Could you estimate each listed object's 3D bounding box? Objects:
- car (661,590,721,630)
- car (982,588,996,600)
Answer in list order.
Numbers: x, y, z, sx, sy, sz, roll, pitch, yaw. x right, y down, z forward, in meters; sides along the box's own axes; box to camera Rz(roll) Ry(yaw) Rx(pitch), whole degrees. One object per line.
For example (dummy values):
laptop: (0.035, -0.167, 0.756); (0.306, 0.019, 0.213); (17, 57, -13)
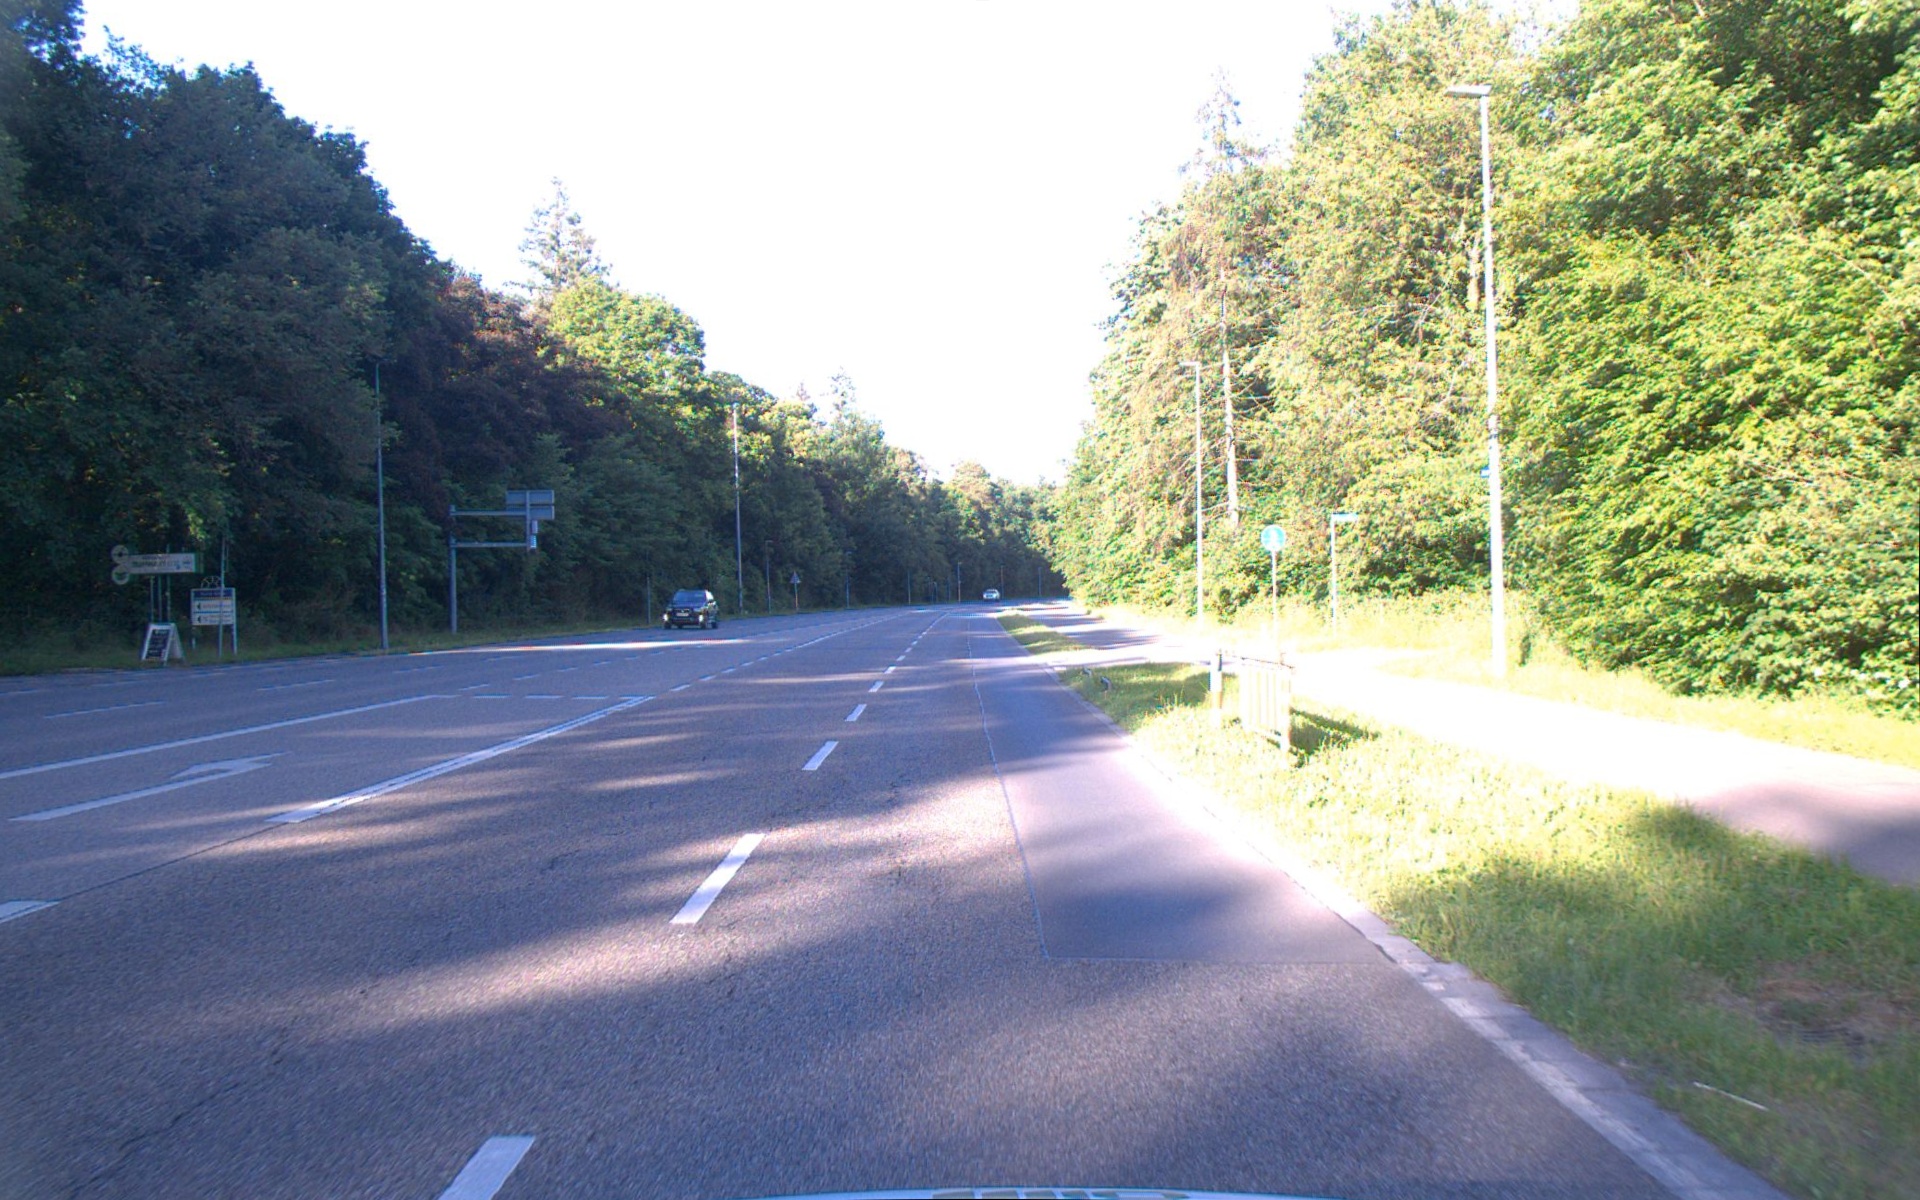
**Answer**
car: (-11.341, 0.389, 69.936); (1.787, 1.617, 4.351); (0, 0, 0)
car: (3.955, -0.832, 225.633); (1.869, 1.693, 4.734); (0, 0, 1)
